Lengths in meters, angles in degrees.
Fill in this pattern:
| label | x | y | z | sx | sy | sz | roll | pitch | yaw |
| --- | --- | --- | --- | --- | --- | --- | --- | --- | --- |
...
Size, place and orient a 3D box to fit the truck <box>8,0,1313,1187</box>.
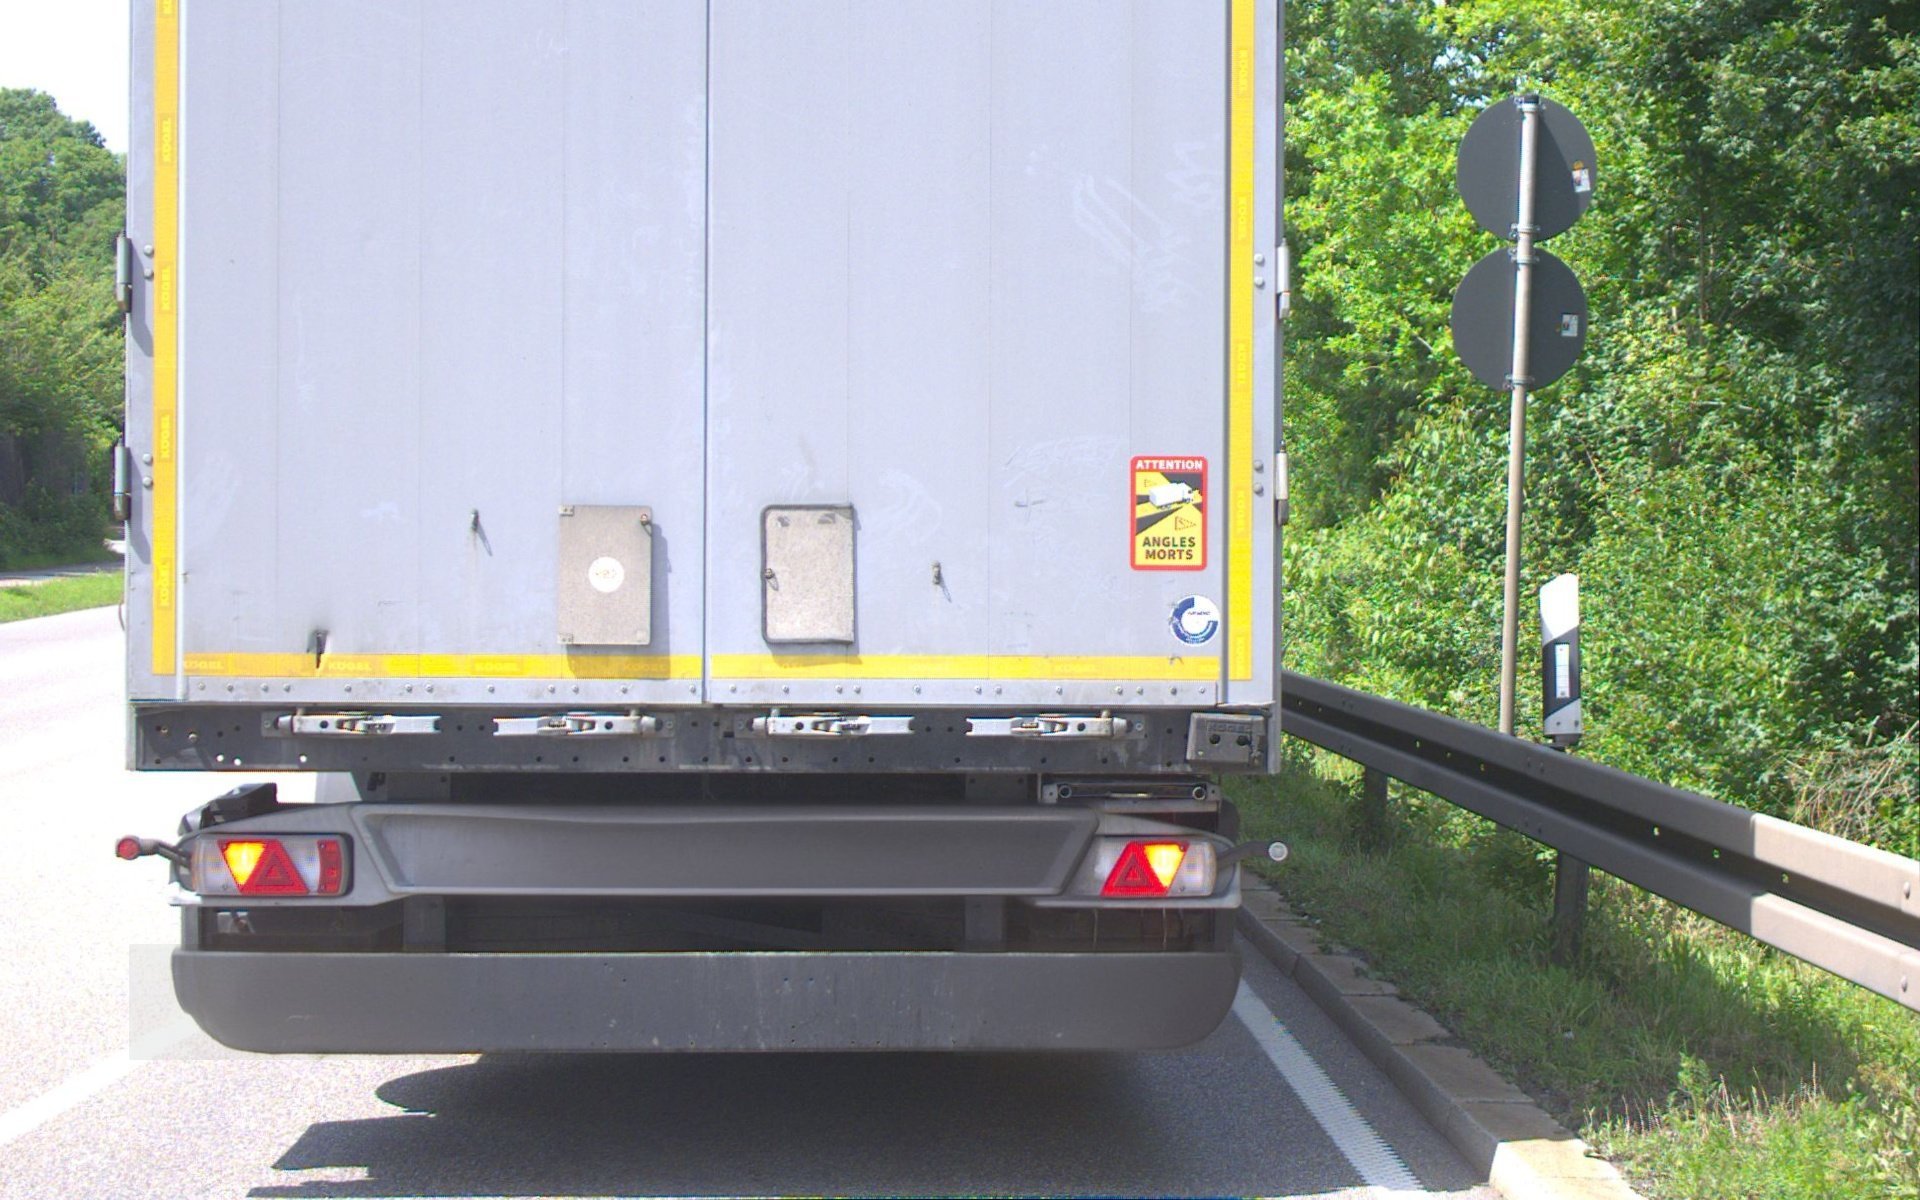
| label | x | y | z | sx | sy | sz | roll | pitch | yaw |
| --- | --- | --- | --- | --- | --- | --- | --- | --- | --- |
| truck | -0.769 | -0.890 | 13.257 | 2.757 | 4.016 | 11.925 | 0 | 1 | -1 |
